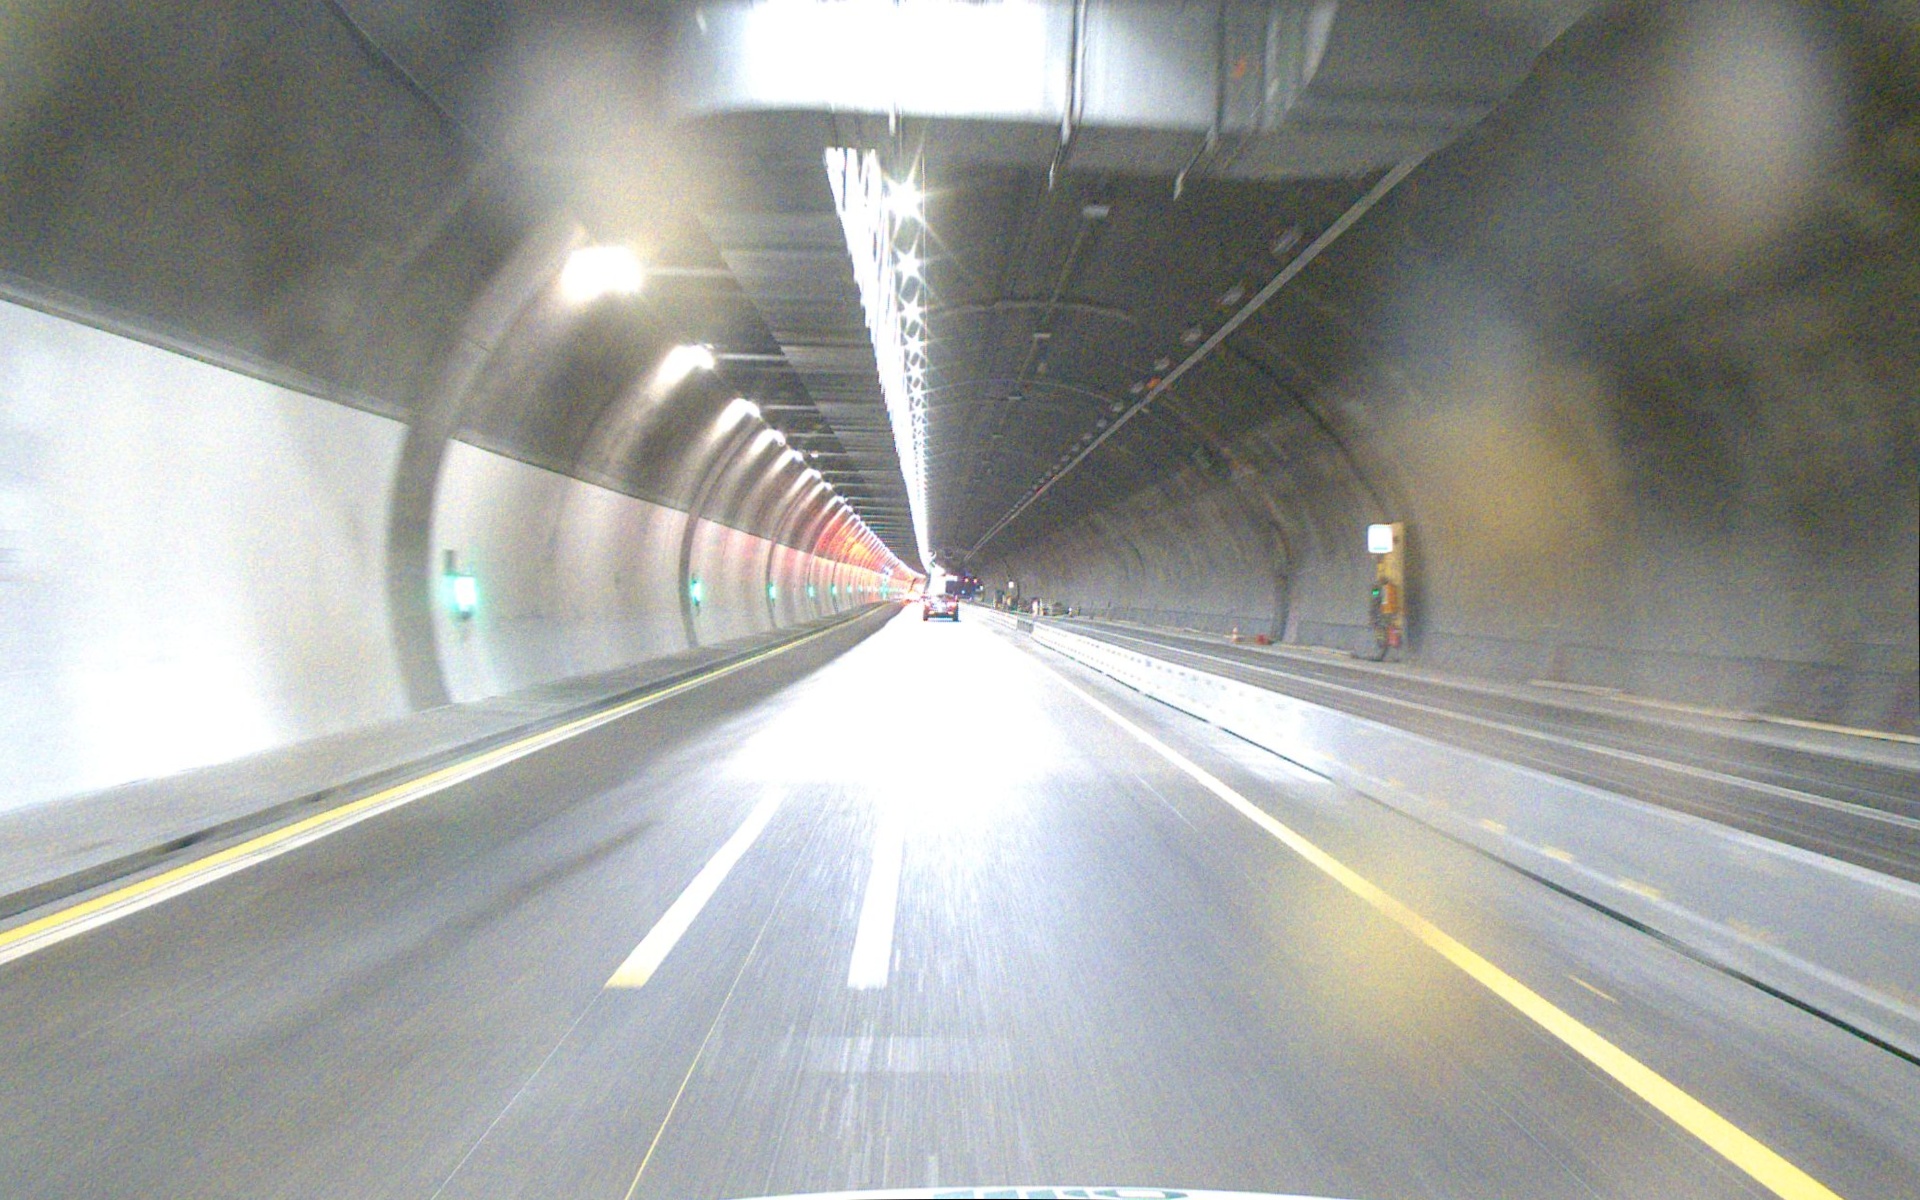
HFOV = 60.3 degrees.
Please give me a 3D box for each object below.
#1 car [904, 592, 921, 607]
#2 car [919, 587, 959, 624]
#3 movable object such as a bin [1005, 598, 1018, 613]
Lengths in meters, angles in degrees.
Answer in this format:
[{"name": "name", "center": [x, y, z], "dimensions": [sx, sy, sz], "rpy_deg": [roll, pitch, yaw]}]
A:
[{"name": "car", "center": [-5.680, -0.061, 196.377], "dimensions": [1.891, 1.716, 3.998], "rpy_deg": [1, 0, -3]}, {"name": "car", "center": [-1.119, 0.273, 86.308], "dimensions": [1.908, 1.826, 3.997], "rpy_deg": [1, 0, -4]}, {"name": "movable object such as a bin", "center": [5.487, 0.597, 175.646], "dimensions": [1.210, 1.467, 2.216], "rpy_deg": [3, 0, -2]}]
